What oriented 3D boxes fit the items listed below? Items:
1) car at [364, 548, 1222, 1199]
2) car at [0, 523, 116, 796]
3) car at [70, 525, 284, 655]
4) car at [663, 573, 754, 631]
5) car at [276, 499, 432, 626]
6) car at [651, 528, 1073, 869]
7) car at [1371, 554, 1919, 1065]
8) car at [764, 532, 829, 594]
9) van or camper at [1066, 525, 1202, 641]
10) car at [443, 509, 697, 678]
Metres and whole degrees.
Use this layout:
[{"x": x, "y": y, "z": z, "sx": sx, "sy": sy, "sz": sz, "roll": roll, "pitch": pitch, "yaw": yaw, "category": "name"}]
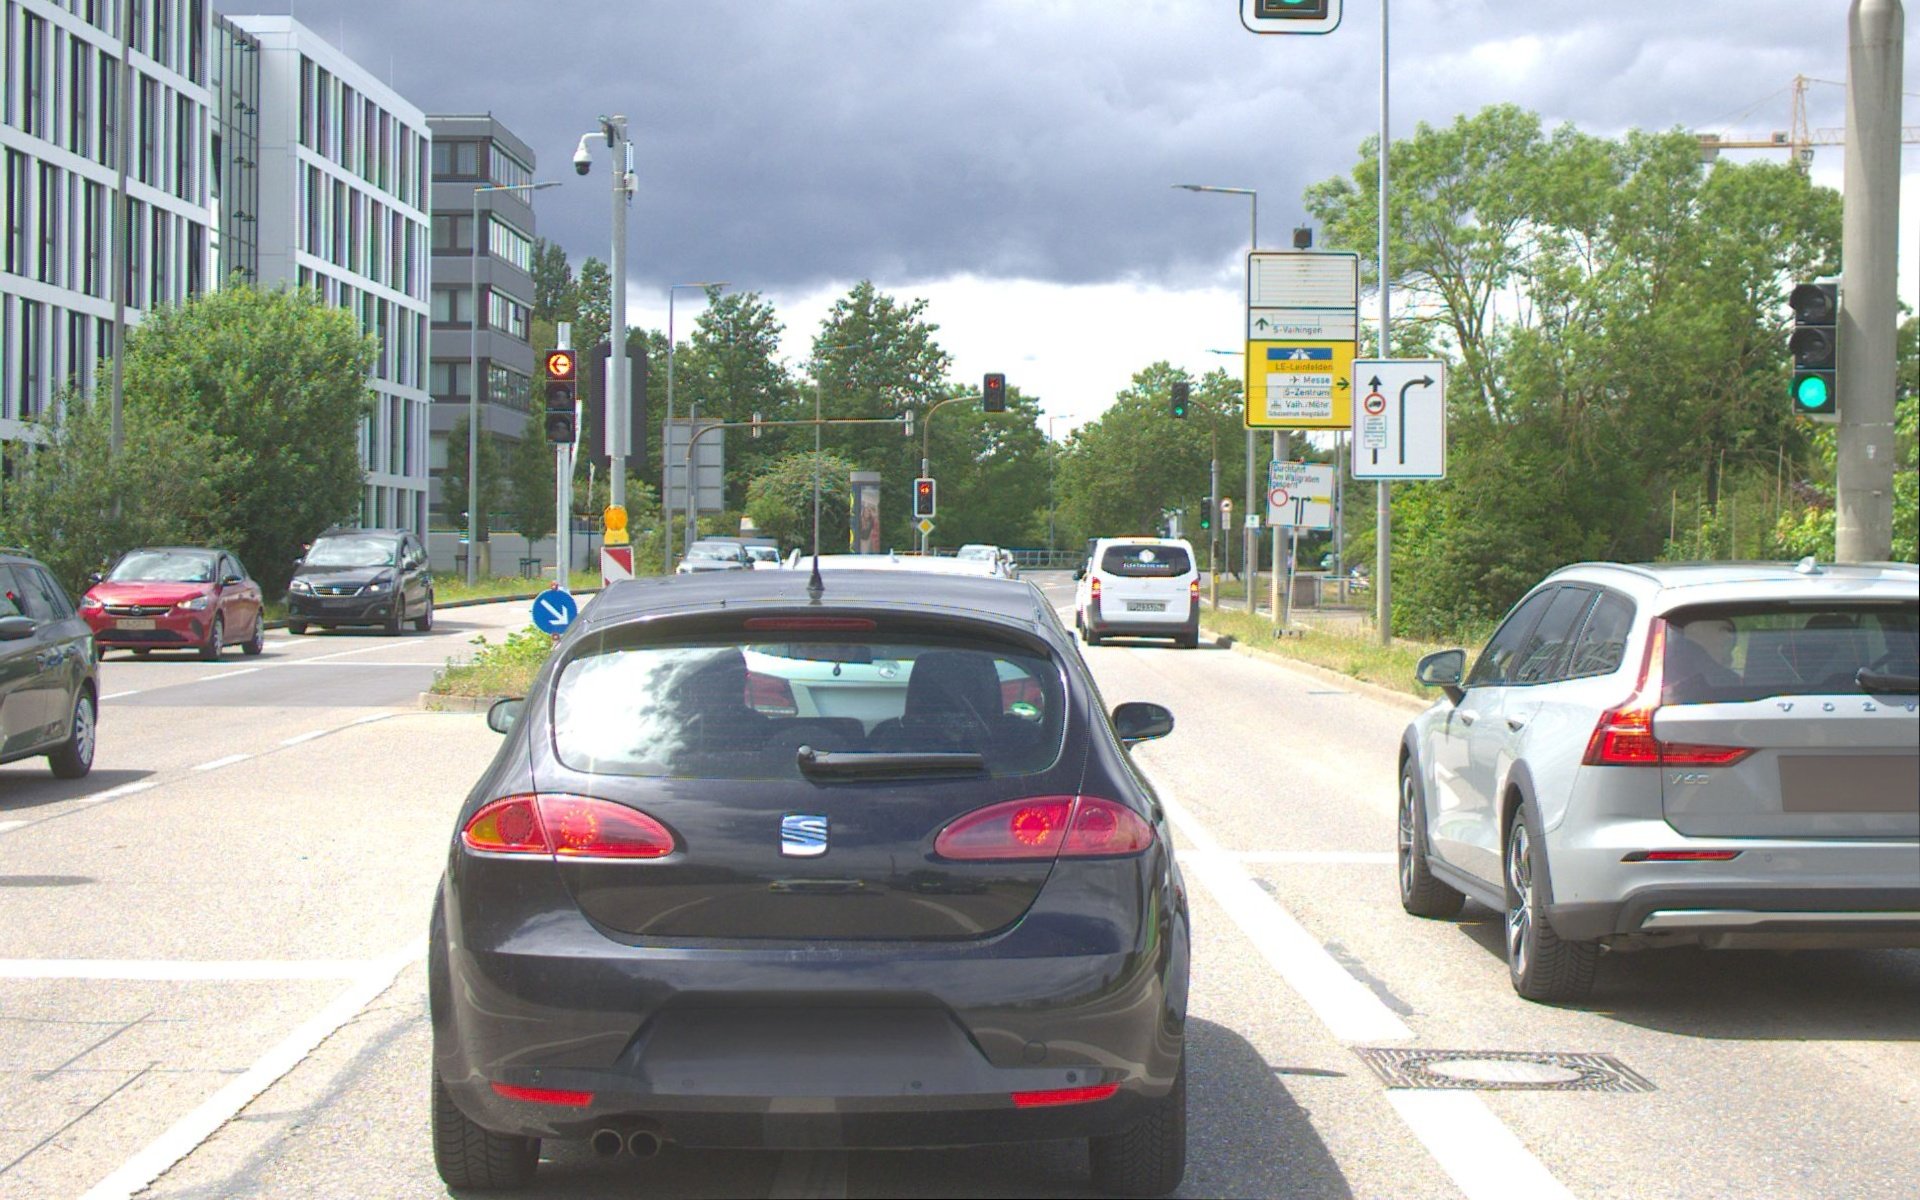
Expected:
[{"x": -0.256, "y": 0.643, "z": 9.117, "sx": 1.748, "sy": 1.479, "sz": 4.000, "roll": 2, "pitch": 0, "yaw": 3, "category": "car"}, {"x": -6.351, "y": 0.338, "z": 20.507, "sx": 1.668, "sy": 1.519, "sz": 4.008, "roll": 0, "pitch": 2, "yaw": -1, "category": "car"}, {"x": -10.073, "y": -0.140, "z": 44.502, "sx": 1.776, "sy": 1.606, "sz": 4.000, "roll": 0, "pitch": 0, "yaw": 1, "category": "car"}, {"x": -6.151, "y": 0.035, "z": 84.545, "sx": 1.993, "sy": 1.404, "sz": 4.000, "roll": 0, "pitch": 0, "yaw": -1, "category": "car"}, {"x": -9.938, "y": -0.606, "z": 56.643, "sx": 1.993, "sy": 2.007, "sz": 4.482, "roll": 0, "pitch": 0, "yaw": -3, "category": "car"}, {"x": -0.515, "y": 0.427, "z": 18.470, "sx": 1.983, "sy": 1.585, "sz": 4.226, "roll": 1, "pitch": 1, "yaw": -1, "category": "car"}, {"x": 2.764, "y": 0.612, "z": 12.534, "sx": 1.958, "sy": 1.520, "sz": 4.340, "roll": -1, "pitch": 0, "yaw": 0, "category": "car"}, {"x": -5.308, "y": -1.195, "z": 111.873, "sx": 1.993, "sy": 2.007, "sz": 4.000, "roll": 0, "pitch": 0, "yaw": -1, "category": "car"}, {"x": 2.949, "y": -0.288, "z": 59.026, "sx": 1.899, "sy": 1.919, "sz": 4.000, "roll": 0, "pitch": 0, "yaw": -3, "category": "van or camper"}, {"x": -3.521, "y": -0.071, "z": 31.702, "sx": 1.845, "sy": 1.456, "sz": 4.056, "roll": 0, "pitch": 0, "yaw": 1, "category": "car"}]
